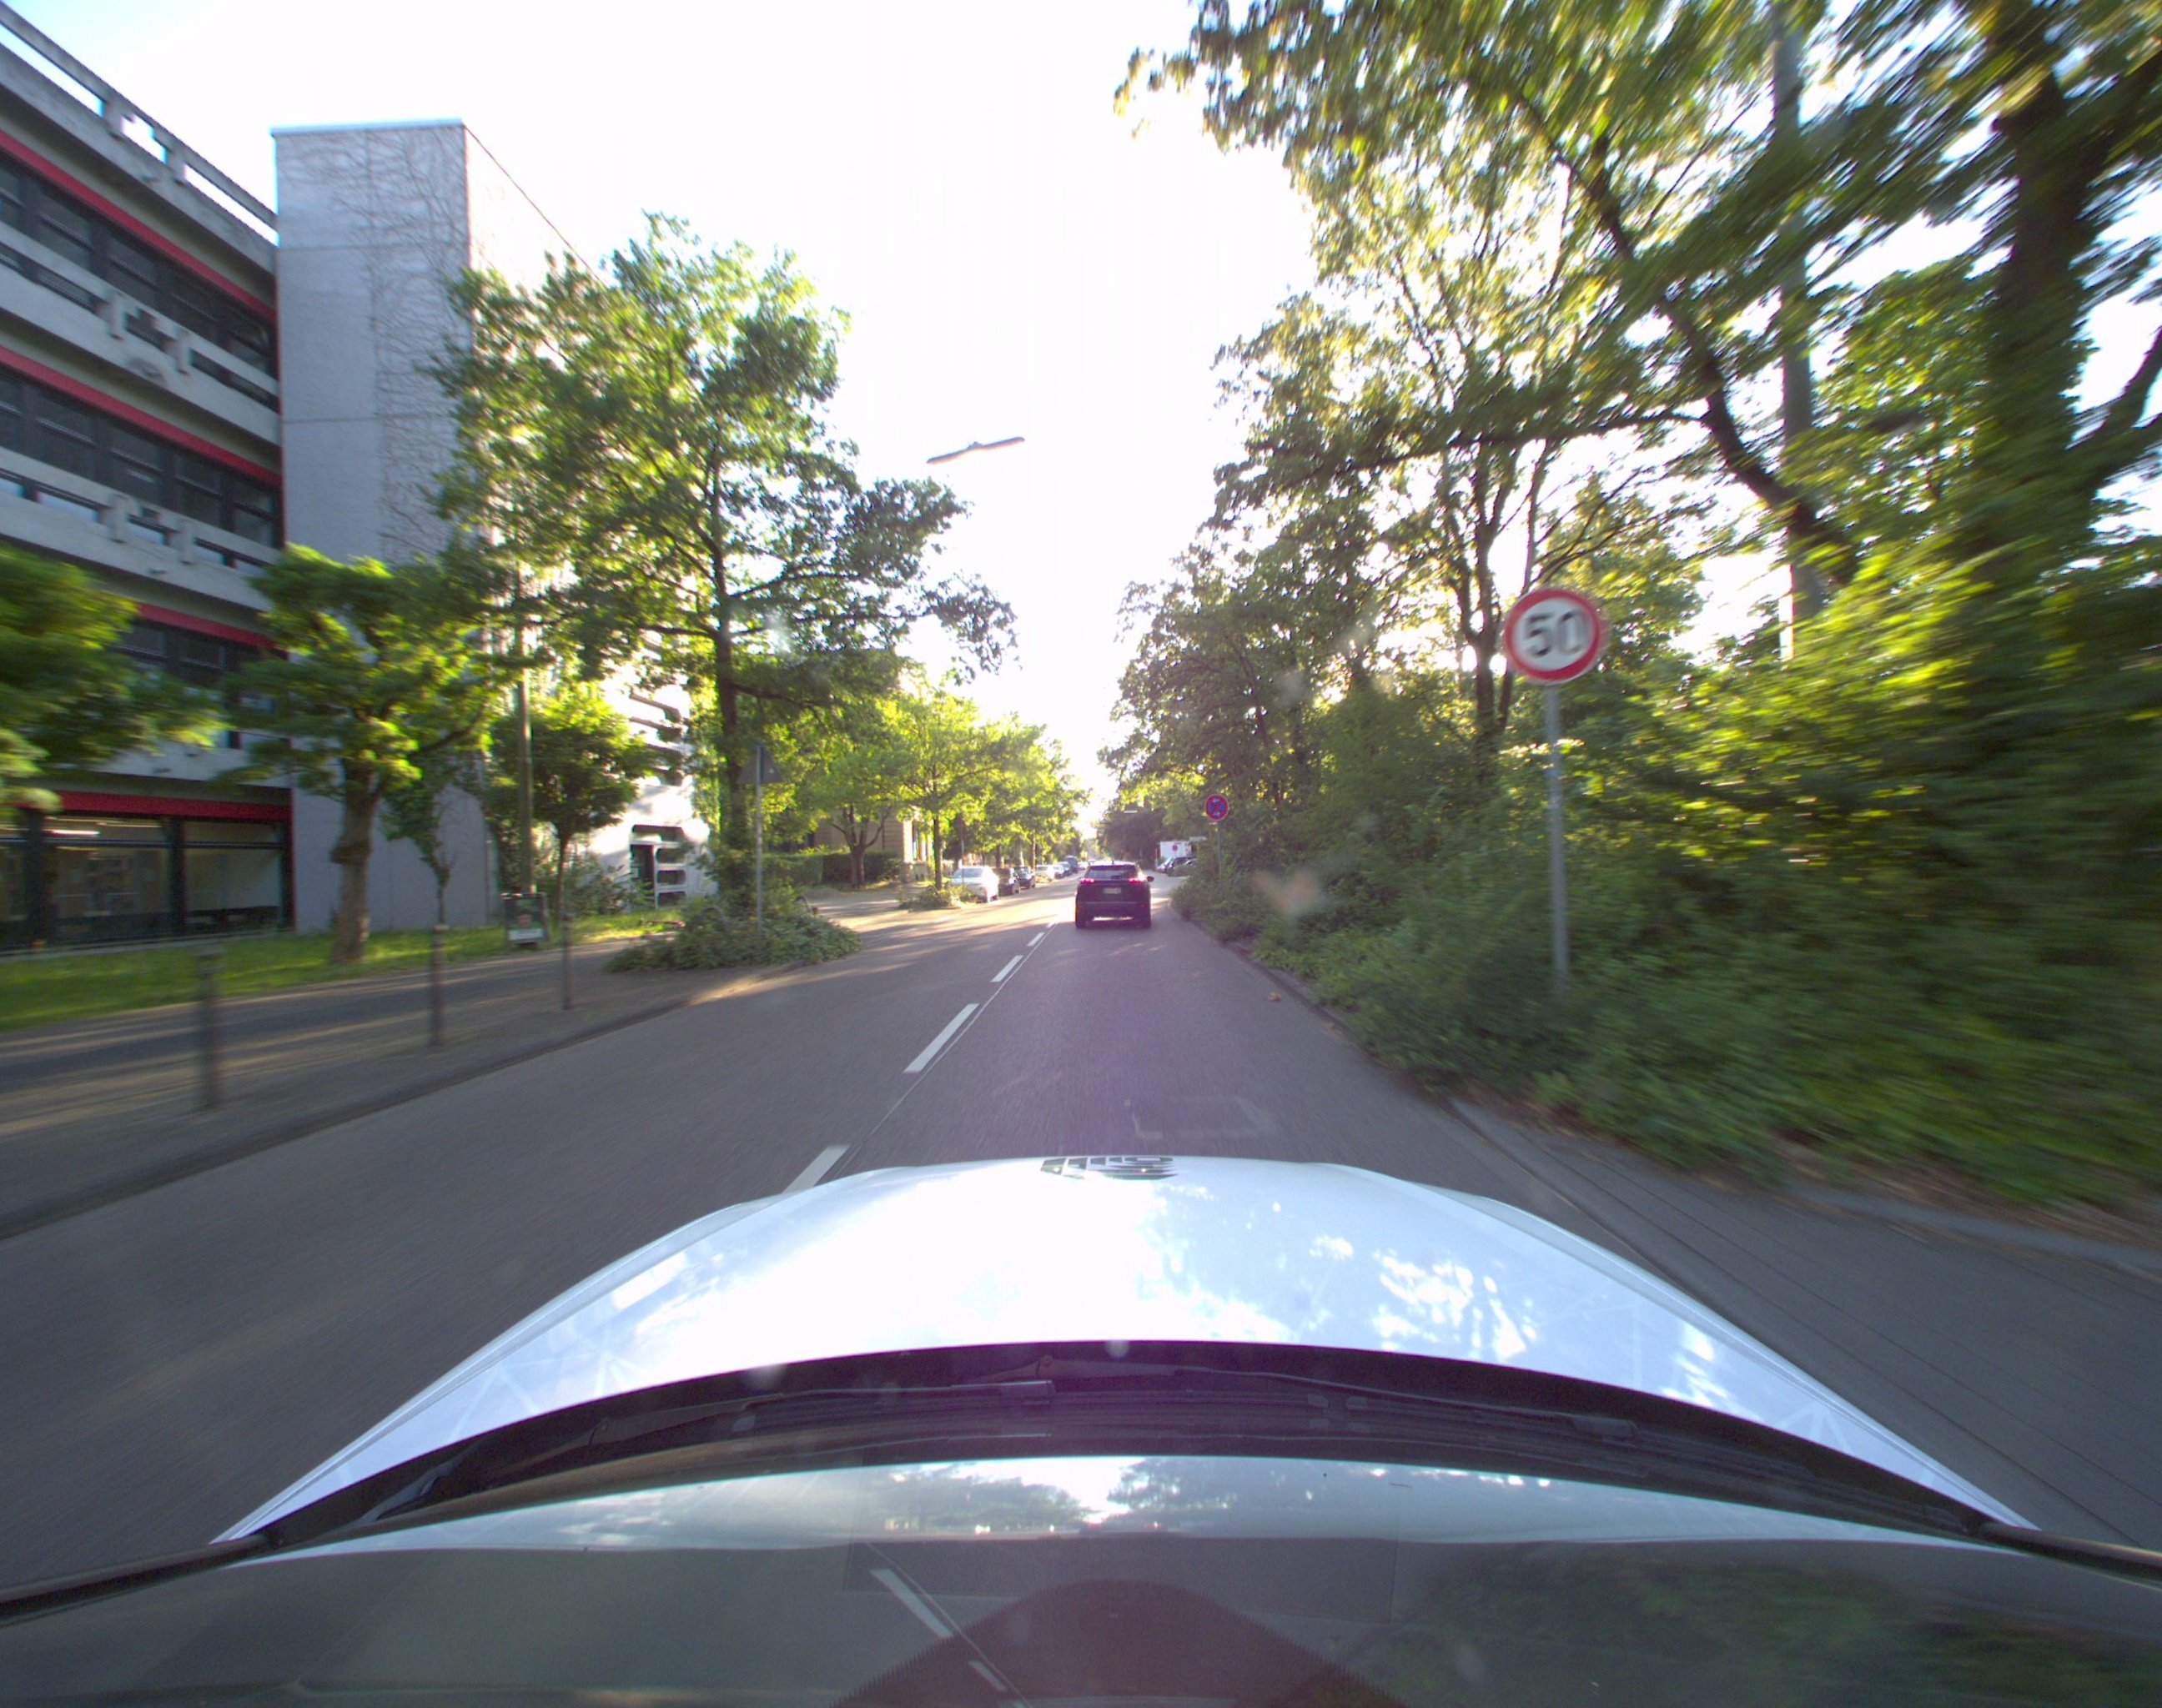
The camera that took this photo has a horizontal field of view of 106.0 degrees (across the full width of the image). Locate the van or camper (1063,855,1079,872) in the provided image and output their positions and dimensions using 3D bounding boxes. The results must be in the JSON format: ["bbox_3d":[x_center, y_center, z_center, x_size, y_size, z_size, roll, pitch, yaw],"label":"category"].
[{"bbox_3d":[-1.536,1.458,125.227,2.221,2.544,7.081,0,-1,1],"label":"van or camper"}]

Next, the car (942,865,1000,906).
[{"bbox_3d":[-4.686,1.303,35.334,1.796,1.616,4.148,-2,-1,1],"label":"car"}]

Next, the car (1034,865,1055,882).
[{"bbox_3d":[-3.342,1.773,75.165,1.612,1.496,3.925,-1,-1,1],"label":"car"}]

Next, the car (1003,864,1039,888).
[{"bbox_3d":[-3.970,1.450,54.618,1.795,1.510,4.865,-1,-1,3],"label":"car"}]

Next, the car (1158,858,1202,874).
[{"bbox_3d":[11.770,1.440,96.760,4.910,1.554,1.916,-4,-1,0],"label":"car"}]

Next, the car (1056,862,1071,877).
[{"bbox_3d":[-2.266,1.998,105.578,1.770,1.866,4.334,0,0,2],"label":"car"}]

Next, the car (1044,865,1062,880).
[{"bbox_3d":[-3.028,1.970,87.819,1.612,1.496,4.378,-1,-1,1],"label":"car"}]

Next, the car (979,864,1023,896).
[{"bbox_3d":[-4.245,1.351,43.798,1.773,1.616,4.148,-1,-1,1],"label":"car"}]

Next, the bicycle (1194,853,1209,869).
[{"bbox_3d":[9.315,0.539,62.874,0.488,1.148,2.297,-5,-1,22],"label":"bicycle"}]

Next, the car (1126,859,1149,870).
[{"bbox_3d":[9.830,1.838,142.519,3.972,1.554,1.726,-2,0,1],"label":"car"}]

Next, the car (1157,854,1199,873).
[{"bbox_3d":[11.819,1.188,99.084,4.836,1.916,1.916,-4,-1,0],"label":"car"}]

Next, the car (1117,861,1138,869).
[{"bbox_3d":[10.058,2.471,175.665,4.230,1.449,2.020,-3,-1,-1],"label":"car"}]

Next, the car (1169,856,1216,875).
[{"bbox_3d":[11.097,1.107,81.211,4.348,1.554,1.727,-4,-1,0],"label":"car"}]

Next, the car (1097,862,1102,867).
[{"bbox_3d":[5.887,3.394,257.721,1.735,1.458,4.624,-3,-1,1],"label":"car"}]

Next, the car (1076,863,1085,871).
[{"bbox_3d":[-0.127,2.520,160.394,1.608,1.515,3.711,-4,-1,0],"label":"car"}]

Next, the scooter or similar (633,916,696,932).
[{"bbox_3d":[-10.721,1.795,21.012,1.163,0.276,1.244,-1,-1,-14],"label":"scooter or similar"}]

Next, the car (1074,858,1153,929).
[{"bbox_3d":[0.797,0.891,20.366,1.765,1.568,4.110,-1,0,2],"label":"car"}]

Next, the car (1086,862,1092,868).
[{"bbox_3d":[2.421,3.313,248.700,1.893,1.574,4.001,-2,-1,1],"label":"car"}]

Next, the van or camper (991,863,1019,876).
[{"bbox_3d":[-13.709,2.830,147.469,4.748,1.985,2.003,-2,3,3],"label":"van or camper"}]

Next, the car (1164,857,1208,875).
[{"bbox_3d":[11.114,1.271,86.274,4.348,1.554,1.876,-4,-1,0],"label":"car"}]
